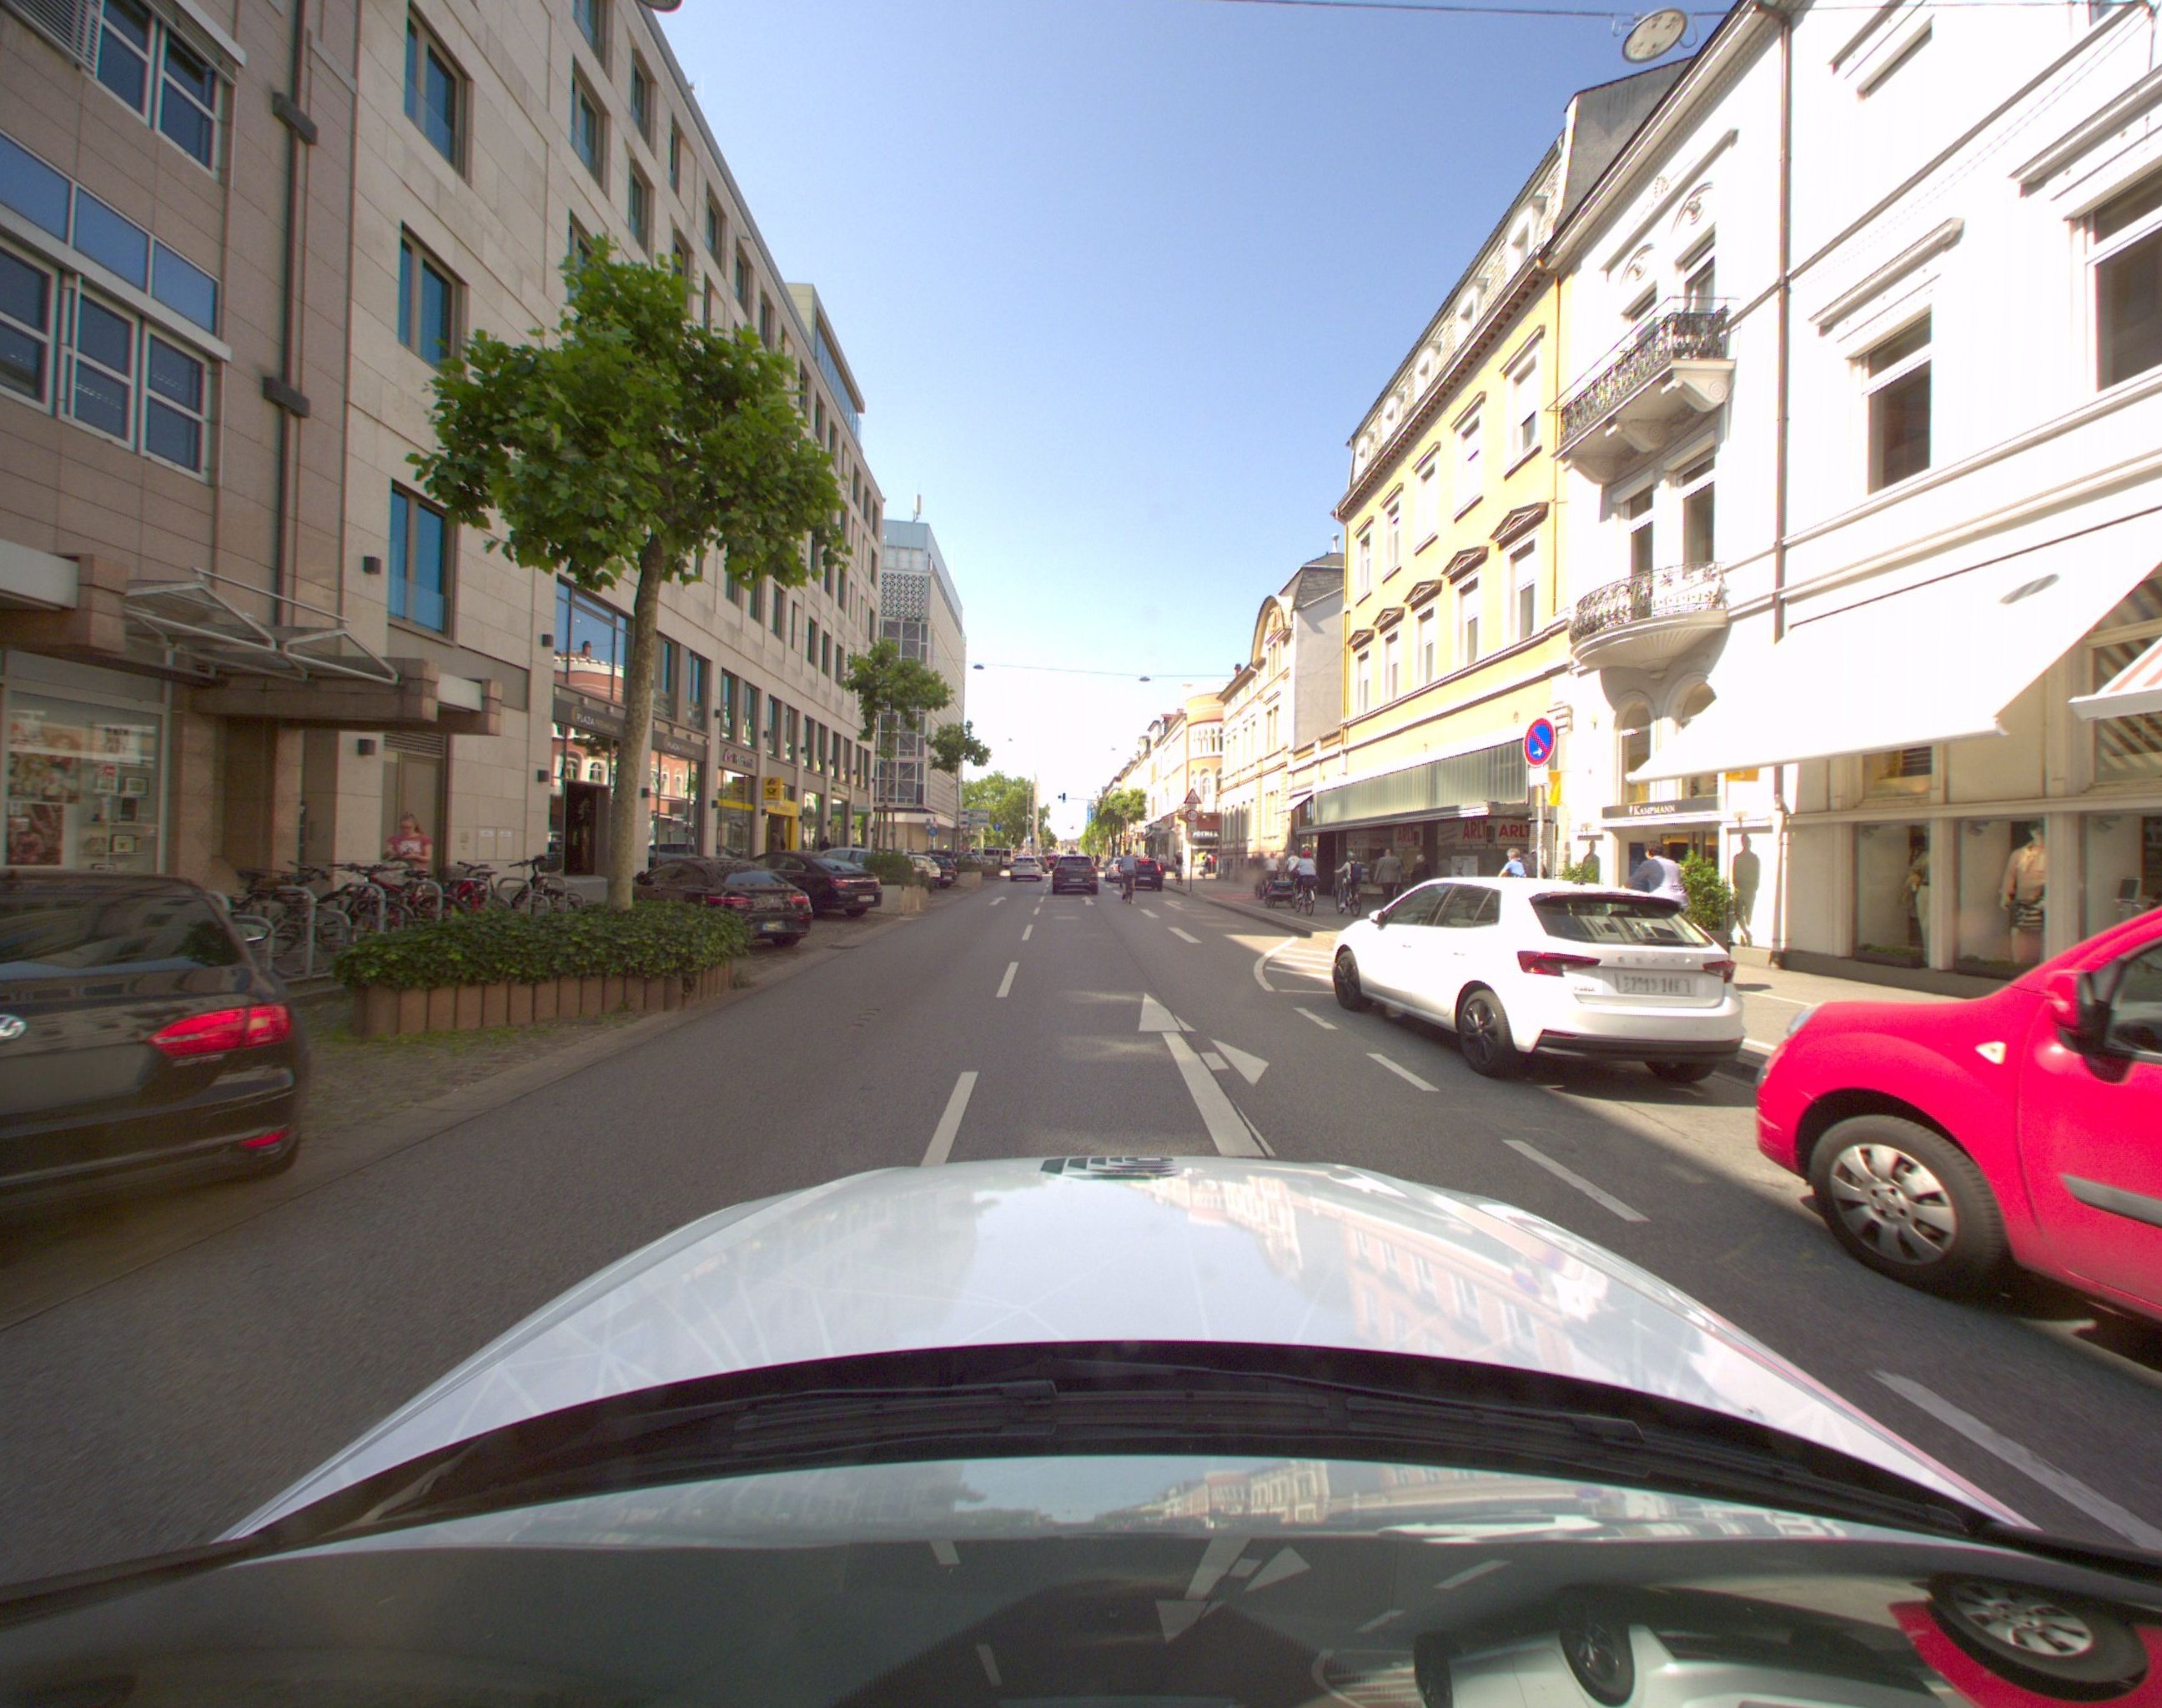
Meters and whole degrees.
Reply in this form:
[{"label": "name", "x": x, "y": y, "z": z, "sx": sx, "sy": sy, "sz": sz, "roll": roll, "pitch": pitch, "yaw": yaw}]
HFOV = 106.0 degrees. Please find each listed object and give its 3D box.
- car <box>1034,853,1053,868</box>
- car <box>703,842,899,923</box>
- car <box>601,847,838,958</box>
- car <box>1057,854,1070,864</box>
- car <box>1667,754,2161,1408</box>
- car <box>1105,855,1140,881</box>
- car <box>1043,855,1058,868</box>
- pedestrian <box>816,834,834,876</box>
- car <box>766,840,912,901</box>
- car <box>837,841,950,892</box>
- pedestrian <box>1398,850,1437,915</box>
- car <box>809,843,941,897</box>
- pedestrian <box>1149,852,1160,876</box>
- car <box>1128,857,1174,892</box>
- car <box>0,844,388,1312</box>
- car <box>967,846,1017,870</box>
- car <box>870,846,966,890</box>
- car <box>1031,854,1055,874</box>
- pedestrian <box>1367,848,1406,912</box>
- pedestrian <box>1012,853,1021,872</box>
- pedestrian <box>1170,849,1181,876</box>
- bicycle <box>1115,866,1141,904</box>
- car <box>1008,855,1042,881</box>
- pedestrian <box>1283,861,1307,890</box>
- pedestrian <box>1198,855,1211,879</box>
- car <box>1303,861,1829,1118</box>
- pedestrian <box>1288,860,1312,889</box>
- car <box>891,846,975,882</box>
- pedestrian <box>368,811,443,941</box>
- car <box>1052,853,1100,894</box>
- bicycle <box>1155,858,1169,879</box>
[{"label": "car", "x": -3.685, "y": 0.605, "z": 80.066, "sx": 1.738, "sy": 1.441, "sz": 3.997, "roll": 1, "pitch": 0, "yaw": -2}, {"label": "car", "x": -6.587, "y": 0.604, "z": 19.073, "sx": 4.300, "sy": 1.513, "sz": 1.844, "roll": 4, "pitch": 0, "yaw": 29}, {"label": "car", "x": -6.266, "y": 0.702, "z": 13.832, "sx": 4.593, "sy": 1.408, "sz": 1.918, "roll": 3, "pitch": 1, "yaw": 42}, {"label": "car", "x": -2.557, "y": 0.778, "z": 120.910, "sx": 1.858, "sy": 1.441, "sz": 3.997, "roll": 1, "pitch": 0, "yaw": -2}, {"label": "car", "x": 4.049, "y": 0.686, "z": 1.986, "sx": 1.824, "sy": 1.863, "sz": 4.346, "roll": 3, "pitch": 0, "yaw": -5}, {"label": "car", "x": 2.414, "y": 0.812, "z": 47.872, "sx": 1.816, "sy": 1.385, "sz": 3.999, "roll": 1, "pitch": 1, "yaw": 0}, {"label": "car", "x": -3.599, "y": 0.866, "z": 97.434, "sx": 1.738, "sy": 1.441, "sz": 3.997, "roll": 1, "pitch": 0, "yaw": -2}, {"label": "pedestrian", "x": -12.541, "y": 0.035, "z": 39.869, "sx": 0.622, "sy": 2.014, "sz": 0.700, "roll": 0, "pitch": 0, "yaw": -1}, {"label": "car", "x": -7.491, "y": 0.508, "z": 25.521, "sx": 3.981, "sy": 1.500, "sz": 1.714, "roll": 5, "pitch": -1, "yaw": -6}, {"label": "car", "x": -7.349, "y": 0.502, "z": 31.919, "sx": 3.953, "sy": 1.568, "sz": 1.709, "roll": 6, "pitch": 0, "yaw": 23}, {"label": "pedestrian", "x": 8.960, "y": 0.743, "z": 21.720, "sx": 0.645, "sy": 1.684, "sz": 0.944, "roll": 1, "pitch": 0, "yaw": -1}, {"label": "car", "x": -7.147, "y": 0.548, "z": 28.398, "sx": 3.958, "sy": 1.490, "sz": 1.791, "roll": 5, "pitch": 0, "yaw": 16}, {"label": "pedestrian", "x": 5.617, "y": 0.777, "z": 62.070, "sx": 0.721, "sy": 1.809, "sz": 0.657, "roll": 1, "pitch": -1, "yaw": 16}, {"label": "car", "x": 3.233, "y": 0.909, "z": 38.095, "sx": 1.816, "sy": 1.409, "sz": 3.186, "roll": 3, "pitch": 1, "yaw": -1}, {"label": "car", "x": -5.448, "y": 0.741, "z": 4.233, "sx": 4.736, "sy": 1.422, "sz": 1.895, "roll": 3, "pitch": 0, "yaw": 38}, {"label": "car", "x": -8.671, "y": 0.367, "z": 79.068, "sx": 4.665, "sy": 2.003, "sz": 1.953, "roll": 4, "pitch": -1, "yaw": 39}, {"label": "car", "x": -7.075, "y": 0.585, "z": 35.198, "sx": 3.950, "sy": 1.459, "sz": 1.680, "roll": 6, "pitch": 0, "yaw": 35}, {"label": "car", "x": -2.884, "y": 0.764, "z": 62.700, "sx": 1.738, "sy": 1.441, "sz": 3.997, "roll": 1, "pitch": 0, "yaw": -2}, {"label": "pedestrian", "x": 8.407, "y": 0.701, "z": 22.413, "sx": 0.873, "sy": 1.718, "sz": 0.838, "roll": 0, "pitch": -1, "yaw": 10}, {"label": "pedestrian", "x": -5.757, "y": 0.773, "z": 72.648, "sx": 0.616, "sy": 1.615, "sz": 0.545, "roll": 2, "pitch": -2, "yaw": -31}, {"label": "pedestrian", "x": 6.382, "y": 0.602, "z": 55.111, "sx": 0.650, "sy": 1.809, "sz": 0.729, "roll": 0, "pitch": 0, "yaw": -3}, {"label": "bicycle", "x": 1.564, "y": 1.012, "z": 27.258, "sx": 0.662, "sy": 1.120, "sz": 2.242, "roll": 3, "pitch": 0, "yaw": -1}, {"label": "car", "x": -3.216, "y": 0.784, "z": 47.531, "sx": 1.858, "sy": 1.441, "sz": 3.997, "roll": 1, "pitch": 0, "yaw": -2}, {"label": "pedestrian", "x": 9.644, "y": 0.953, "z": 36.695, "sx": 0.932, "sy": 1.269, "sz": 0.568, "roll": -1, "pitch": 0, "yaw": 4}, {"label": "pedestrian", "x": 8.811, "y": 0.916, "z": 58.251, "sx": 0.790, "sy": 1.720, "sz": 0.728, "roll": 0, "pitch": 0, "yaw": -6}, {"label": "car", "x": 3.709, "y": 0.889, "z": 7.430, "sx": 1.809, "sy": 1.466, "sz": 4.574, "roll": 3, "pitch": 1, "yaw": -4}, {"label": "pedestrian", "x": 9.657, "y": 0.899, "z": 35.935, "sx": 0.932, "sy": 1.269, "sz": 0.568, "roll": -1, "pitch": 0, "yaw": 4}, {"label": "car", "x": -7.623, "y": 0.501, "z": 42.231, "sx": 3.979, "sy": 1.500, "sz": 1.715, "roll": 5, "pitch": -1, "yaw": -4}, {"label": "pedestrian", "x": -8.881, "y": 0.281, "z": 10.723, "sx": 0.568, "sy": 1.657, "sz": 0.632, "roll": 1, "pitch": 0, "yaw": -23}, {"label": "car", "x": -0.229, "y": 0.737, "z": 32.820, "sx": 1.828, "sy": 1.527, "sz": 3.998, "roll": 0, "pitch": 0, "yaw": -1}, {"label": "bicycle", "x": 5.139, "y": 0.909, "z": 51.727, "sx": 0.553, "sy": 1.209, "sz": 2.242, "roll": 4, "pitch": 0, "yaw": -1}]
